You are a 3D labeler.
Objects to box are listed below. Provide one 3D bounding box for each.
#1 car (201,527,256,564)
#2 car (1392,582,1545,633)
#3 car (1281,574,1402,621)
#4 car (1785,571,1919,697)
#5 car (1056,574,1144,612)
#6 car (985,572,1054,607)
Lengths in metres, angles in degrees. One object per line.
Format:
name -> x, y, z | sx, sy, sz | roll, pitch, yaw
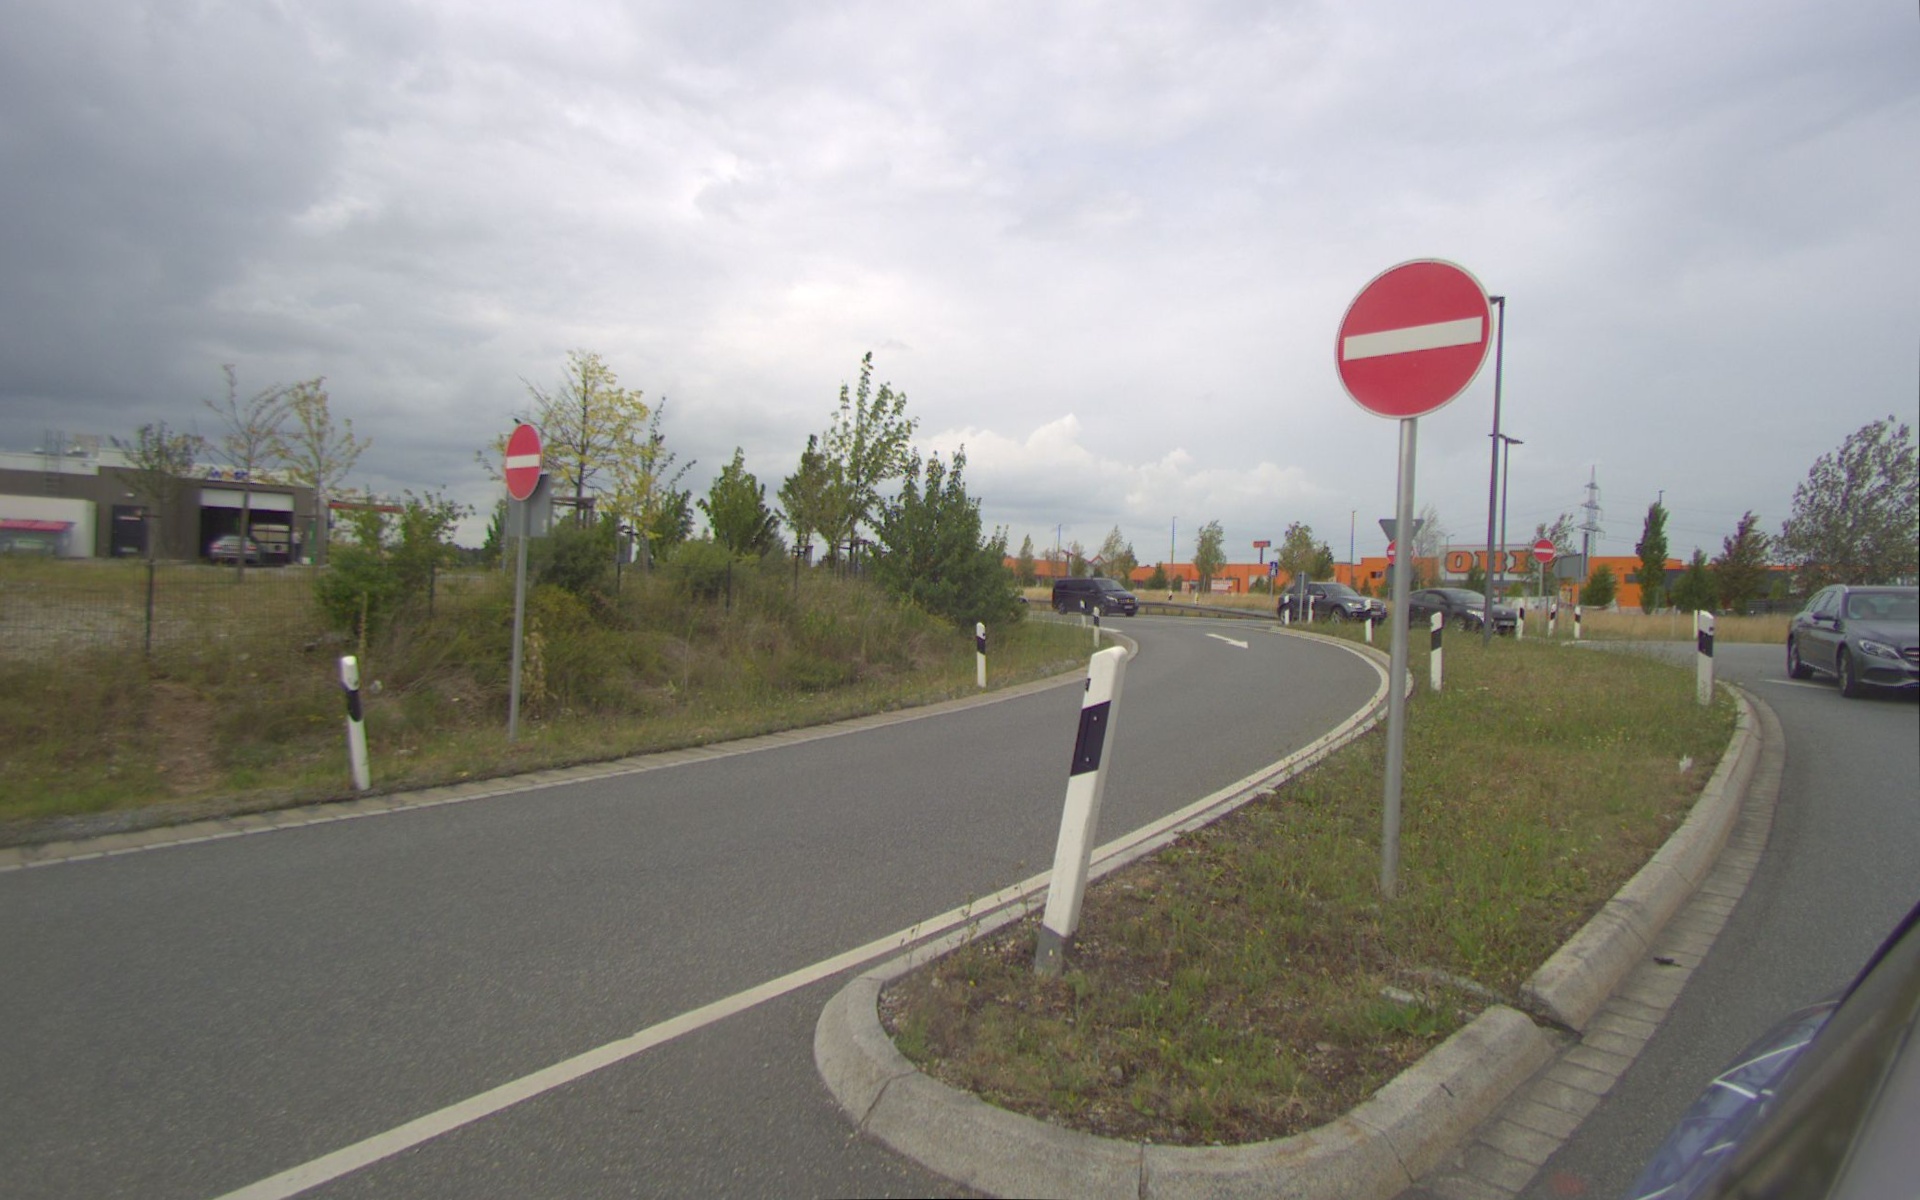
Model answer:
car -> -31.496, -2.305, 43.673 | 1.637, 1.449, 4.003 | 1, 1, -32
car -> 14.771, 0.176, 29.662 | 1.805, 1.387, 4.153 | 1, 1, -12
car -> 14.000, -0.116, 37.367 | 1.844, 1.602, 4.286 | 1, 1, -19
car -> 13.046, 0.405, 13.877 | 1.891, 1.516, 4.295 | 2, 1, 29
car -> 6.768, -0.374, 49.559 | 1.688, 1.743, 4.751 | 1, 1, -30
car -> 3.279, -0.604, 56.392 | 1.771, 1.906, 4.002 | 1, 1, -34
